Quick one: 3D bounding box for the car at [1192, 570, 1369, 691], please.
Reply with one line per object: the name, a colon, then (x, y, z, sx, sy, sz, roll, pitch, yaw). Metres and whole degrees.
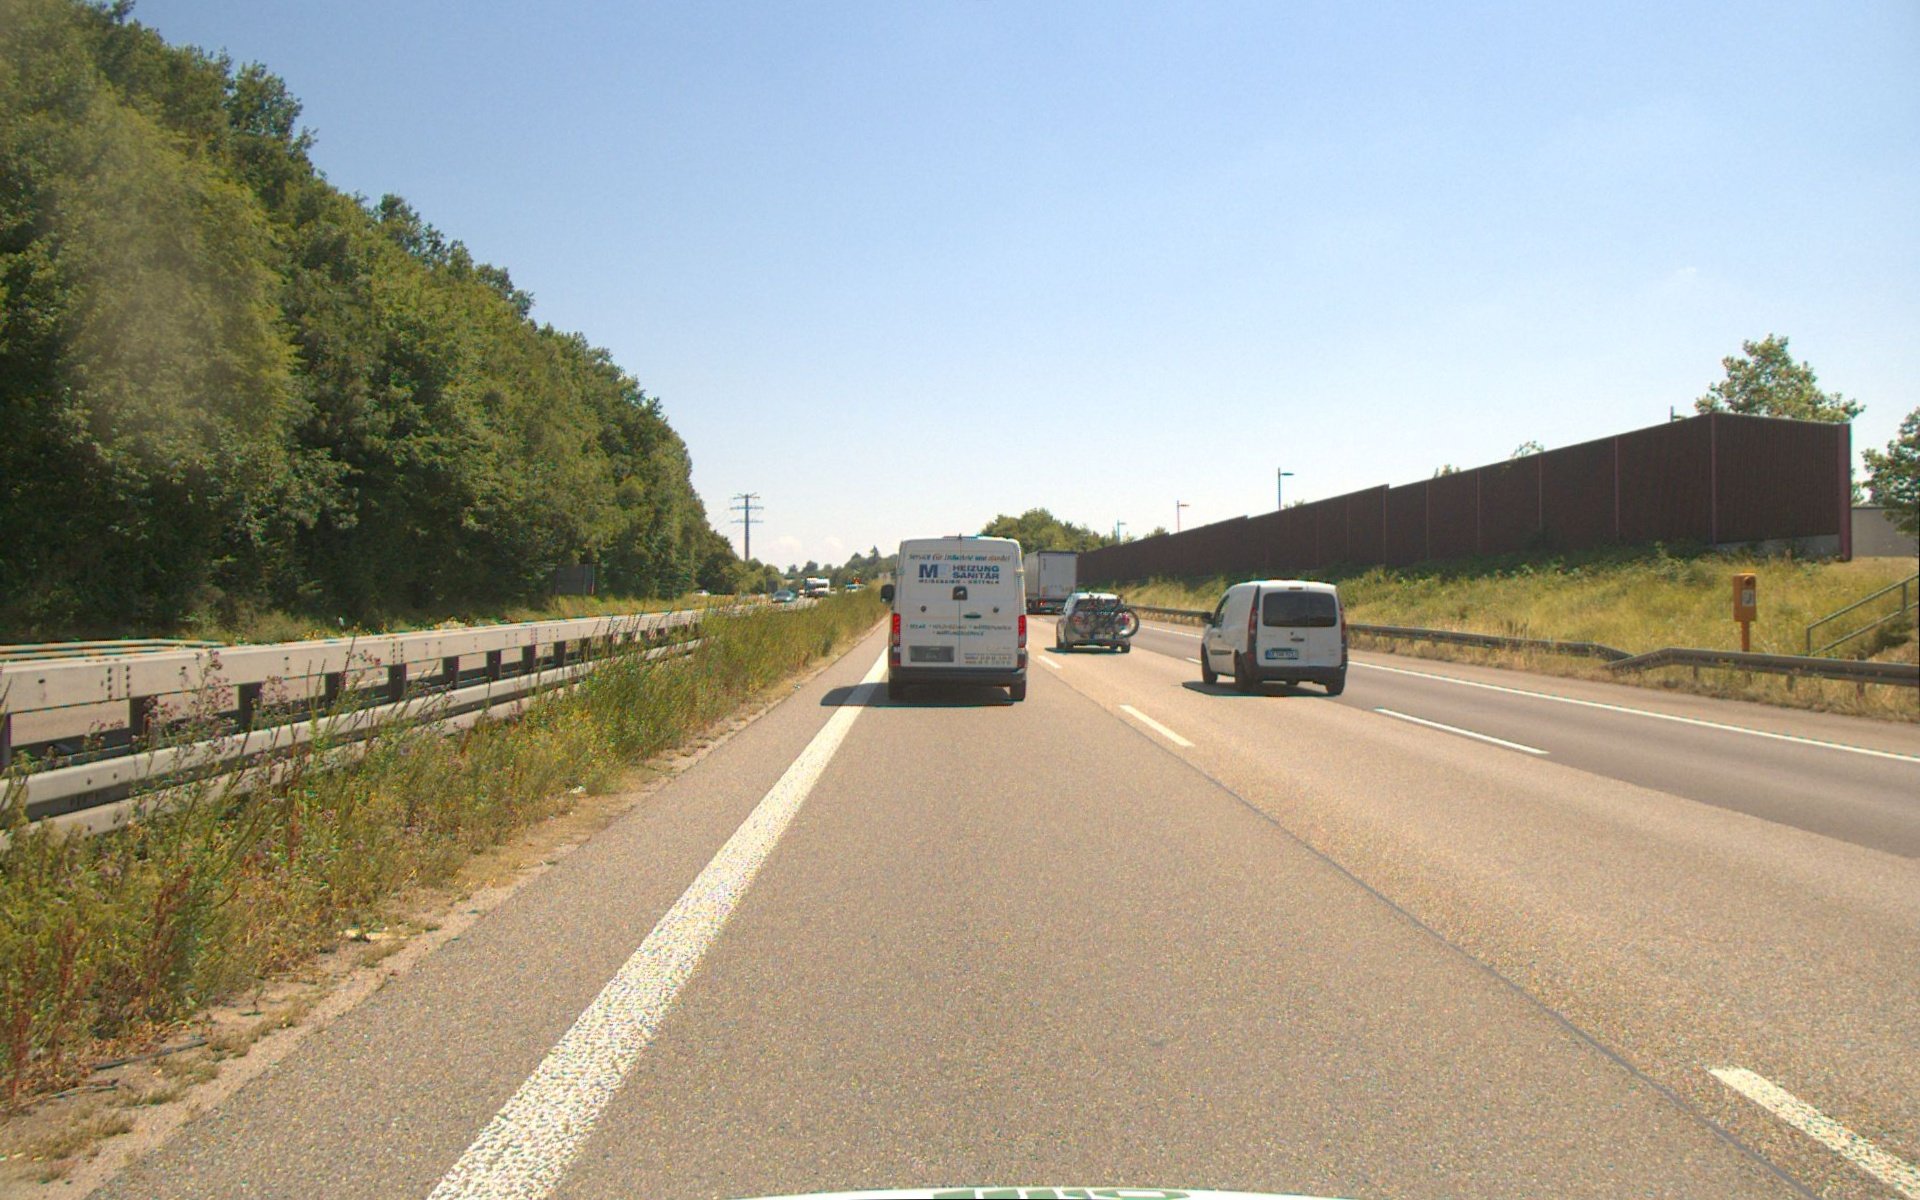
car: (5.303, 0.486, 27.936, 1.912, 1.870, 4.174, -1, 0, -4)

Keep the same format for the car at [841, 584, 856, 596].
car: (-15.517, -1.424, 230.355, 1.953, 1.615, 4.425, -2, 0, -1)

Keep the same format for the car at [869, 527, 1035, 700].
car: (-0.249, 0.201, 24.921, 2.139, 2.293, 5.358, 1, 0, -4)

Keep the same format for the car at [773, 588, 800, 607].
car: (-15.080, -0.203, 144.011, 1.953, 1.545, 4.721, -2, 0, -1)

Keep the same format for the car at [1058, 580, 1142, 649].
car: (3.702, 0.383, 44.352, 1.935, 1.763, 4.089, -1, 0, 1)

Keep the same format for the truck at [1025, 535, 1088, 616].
truck: (6.467, -1.530, 112.917, 3.710, 5.087, 12.519, 1, 0, 1)

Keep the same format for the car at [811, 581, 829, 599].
car: (-19.975, -1.413, 235.997, 2.081, 2.380, 5.084, -2, 0, -1)
